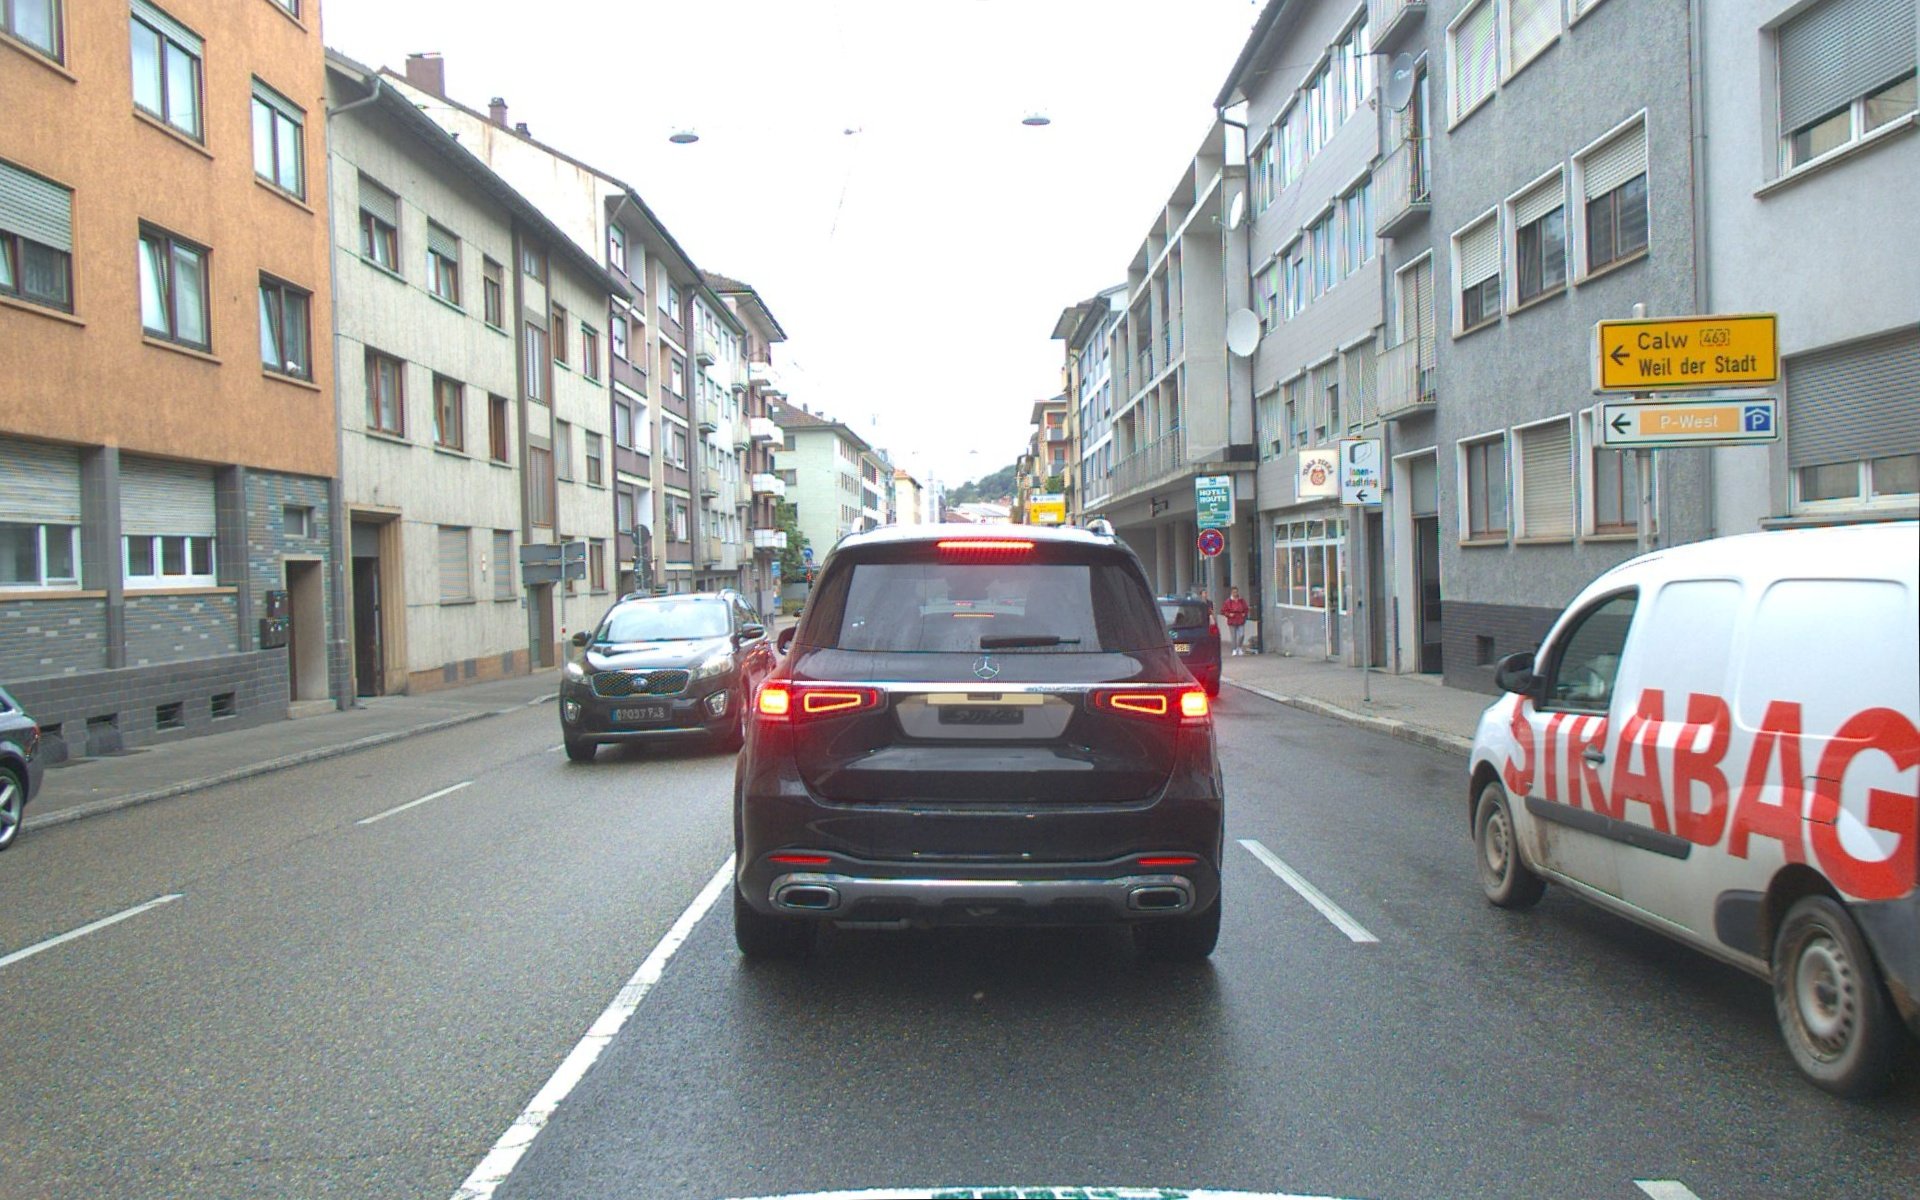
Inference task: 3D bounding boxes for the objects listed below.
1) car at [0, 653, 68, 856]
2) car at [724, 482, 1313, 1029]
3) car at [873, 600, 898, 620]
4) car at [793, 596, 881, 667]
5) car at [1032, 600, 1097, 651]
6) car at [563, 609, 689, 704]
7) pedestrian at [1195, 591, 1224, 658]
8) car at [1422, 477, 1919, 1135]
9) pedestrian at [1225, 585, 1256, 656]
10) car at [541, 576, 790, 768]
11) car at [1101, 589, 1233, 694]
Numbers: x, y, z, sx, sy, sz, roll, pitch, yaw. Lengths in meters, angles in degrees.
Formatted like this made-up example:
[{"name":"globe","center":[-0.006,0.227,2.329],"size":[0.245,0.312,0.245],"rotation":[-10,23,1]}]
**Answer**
[{"name":"car","center":[-7.963,1.157,10.910],"size":[1.759,1.463,4.525],"rotation":[1,0,-1]},{"name":"car","center":[0.161,0.530,7.648],"size":[1.984,1.837,3.999],"rotation":[1,0,-1]},{"name":"car","center":[-5.509,0.721,122.596],"size":[1.664,1.414,4.338],"rotation":[-3,0,-1]},{"name":"car","center":[-3.359,0.825,46.019],"size":[2.083,1.750,4.816],"rotation":[-3,0,-1]},{"name":"car","center":[3.144,0.737,50.410],"size":[1.588,1.455,4.311],"rotation":[1,0,-1]},{"name":"car","center":[-6.459,1.039,32.381],"size":[1.762,1.612,4.313],"rotation":[-3,0,-4]},{"name":"pedestrian","center":[5.826,0.570,38.649],"size":[0.496,1.526,0.562],"rotation":[-4,0,-2]},{"name":"car","center":[3.552,0.563,6.820],"size":[1.901,1.806,4.745],"rotation":[0,0,-1]},{"name":"pedestrian","center":[6.554,0.480,38.651],"size":[0.548,1.606,0.526],"rotation":[-4,0,0]},{"name":"car","center":[-3.106,0.694,18.390],"size":[1.798,1.757,4.475],"rotation":[-4,0,1]},{"name":"car","center":[3.391,0.638,27.785],"size":[1.770,1.634,4.212],"rotation":[0,0,1]}]
